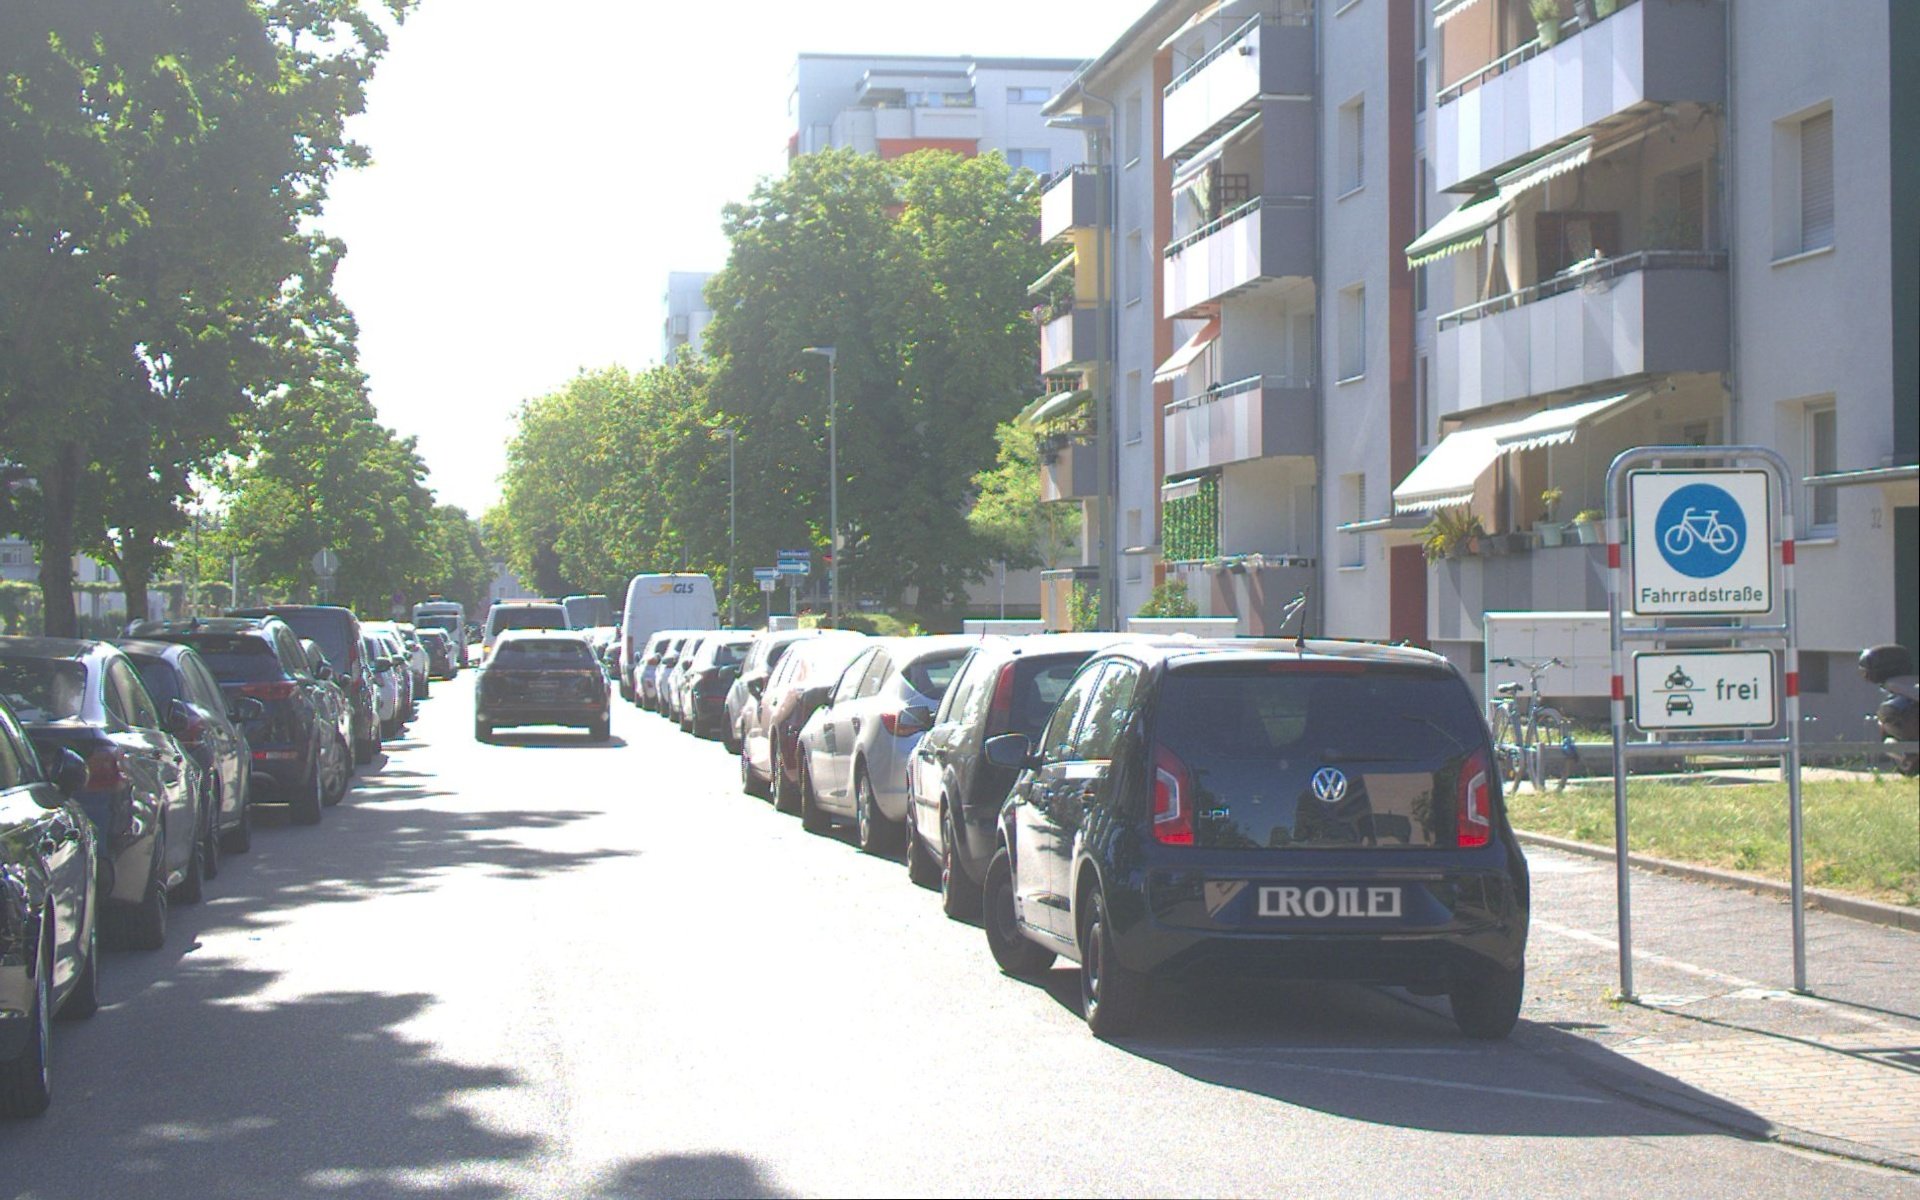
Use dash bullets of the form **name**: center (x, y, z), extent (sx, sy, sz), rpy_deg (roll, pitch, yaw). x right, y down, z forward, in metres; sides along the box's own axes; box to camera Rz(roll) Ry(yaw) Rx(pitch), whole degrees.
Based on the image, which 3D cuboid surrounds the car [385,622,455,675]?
- **car**: center (-15.394, 1.399, 98.149), extent (1.748, 1.420, 3.917), rpy_deg (-2, -1, -7)

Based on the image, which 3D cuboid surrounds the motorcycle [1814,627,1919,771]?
- **motorcycle**: center (7.776, 0.798, 28.101), extent (0.582, 1.147, 2.038), rpy_deg (0, -1, -17)

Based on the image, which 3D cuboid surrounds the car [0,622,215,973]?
- **car**: center (-4.923, 0.892, 17.541), extent (1.993, 1.511, 5.159), rpy_deg (-1, 0, -10)

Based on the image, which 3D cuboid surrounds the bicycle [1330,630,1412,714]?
- **bicycle**: center (5.441, 0.946, 45.637), extent (0.523, 1.067, 2.010), rpy_deg (-2, 0, -9)

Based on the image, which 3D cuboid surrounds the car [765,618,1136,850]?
- **car**: center (-0.179, 0.897, 25.030), extent (1.873, 1.528, 4.494), rpy_deg (0, 0, -11)

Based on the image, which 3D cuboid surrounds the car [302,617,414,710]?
- **car**: center (-11.126, 1.140, 63.745), extent (1.819, 1.604, 4.740), rpy_deg (-2, 0, -8)

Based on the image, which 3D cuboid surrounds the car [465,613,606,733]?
- **car**: center (-5.729, 0.959, 46.567), extent (1.779, 1.526, 4.001), rpy_deg (1, 0, -6)

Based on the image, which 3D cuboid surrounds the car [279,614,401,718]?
- **car**: center (-9.629, 0.995, 53.653), extent (1.755, 1.487, 4.669), rpy_deg (-2, 0, -9)

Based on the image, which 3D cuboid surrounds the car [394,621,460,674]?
- **car**: center (-15.893, 1.414, 102.644), extent (1.777, 1.490, 3.875), rpy_deg (-2, -1, -7)

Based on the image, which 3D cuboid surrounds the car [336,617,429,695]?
- **car**: center (-12.778, 1.213, 76.247), extent (1.756, 1.641, 4.288), rpy_deg (-2, 0, -7)

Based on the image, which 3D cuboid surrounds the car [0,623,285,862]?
- **car**: center (-5.532, 0.897, 22.572), extent (1.880, 1.414, 3.804), rpy_deg (-1, -1, -7)

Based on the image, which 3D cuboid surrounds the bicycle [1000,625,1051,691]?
- **bicycle**: center (1.187, 1.063, 62.874), extent (0.595, 1.172, 2.014), rpy_deg (0, -2, -9)

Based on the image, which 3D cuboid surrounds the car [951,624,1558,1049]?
- **car**: center (1.049, 0.857, 14.060), extent (1.658, 1.469, 3.793), rpy_deg (2, -1, -8)

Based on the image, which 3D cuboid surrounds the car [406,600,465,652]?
- **car**: center (-19.598, 0.974, 128.587), extent (2.098, 1.936, 4.127), rpy_deg (0, 0, -7)

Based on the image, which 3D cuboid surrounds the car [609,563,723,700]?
- **car**: center (-6.297, 0.648, 73.015), extent (2.142, 2.704, 6.842), rpy_deg (-2, 0, -6)

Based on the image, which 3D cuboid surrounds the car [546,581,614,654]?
- **car**: center (-14.370, 0.648, 129.778), extent (2.162, 2.680, 5.417), rpy_deg (0, 0, -11)

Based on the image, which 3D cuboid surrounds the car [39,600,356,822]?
- **car**: center (-6.157, 0.845, 28.277), extent (2.025, 1.620, 4.758), rpy_deg (-1, 0, -7)

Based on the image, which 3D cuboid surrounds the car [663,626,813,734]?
- **car**: center (-3.258, 1.123, 49.741), extent (1.699, 1.431, 4.472), rpy_deg (-2, 0, -9)

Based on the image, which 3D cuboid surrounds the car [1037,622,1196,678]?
- **car**: center (4.119, 1.310, 90.550), extent (3.886, 1.424, 1.659), rpy_deg (0, 0, -11)

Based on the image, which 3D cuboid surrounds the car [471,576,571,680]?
- **car**: center (-8.811, 0.560, 69.262), extent (1.894, 1.984, 4.011), rpy_deg (-2, 0, -7)

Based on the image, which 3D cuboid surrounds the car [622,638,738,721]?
- **car**: center (-5.333, 1.479, 65.096), extent (1.848, 1.461, 4.203), rpy_deg (1, 0, -9)

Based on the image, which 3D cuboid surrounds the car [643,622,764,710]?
- **car**: center (-4.546, 1.131, 60.474), extent (1.877, 1.470, 4.141), rpy_deg (0, 0, -7)

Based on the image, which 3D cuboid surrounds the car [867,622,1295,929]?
- **car**: center (0.554, 0.889, 19.517), extent (1.769, 1.524, 4.558), rpy_deg (0, 0, -7)

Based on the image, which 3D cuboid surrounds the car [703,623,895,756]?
- **car**: center (-1.978, 1.038, 41.252), extent (1.747, 1.494, 3.862), rpy_deg (-1, 0, -11)

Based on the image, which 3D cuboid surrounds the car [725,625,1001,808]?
- **car**: center (-0.951, 0.960, 30.363), extent (1.843, 1.468, 5.066), rpy_deg (0, 0, -8)

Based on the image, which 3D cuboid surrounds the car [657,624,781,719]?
- **car**: center (-3.898, 1.112, 55.135), extent (1.721, 1.431, 4.153), rpy_deg (-1, 0, -8)

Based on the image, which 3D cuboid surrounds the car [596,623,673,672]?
- **car**: center (-9.742, 1.409, 102.633), extent (2.125, 1.333, 4.506), rpy_deg (-3, 0, -7)

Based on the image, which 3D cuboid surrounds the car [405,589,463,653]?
- **car**: center (-20.626, 0.823, 134.922), extent (2.098, 2.488, 4.127), rpy_deg (0, 0, -7)

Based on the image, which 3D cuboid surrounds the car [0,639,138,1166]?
- **car**: center (-3.938, 0.871, 11.850), extent (1.835, 1.447, 4.969), rpy_deg (0, 0, -10)

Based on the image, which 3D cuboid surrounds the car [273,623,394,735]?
- **car**: center (-8.941, 1.100, 49.258), extent (1.586, 1.487, 3.686), rpy_deg (-2, 0, -9)

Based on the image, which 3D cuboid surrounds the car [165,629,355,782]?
- **car**: center (-6.964, 1.011, 34.493), extent (1.538, 1.424, 4.088), rpy_deg (0, 0, -7)

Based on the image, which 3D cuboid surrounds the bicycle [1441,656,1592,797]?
- **bicycle**: center (4.435, 0.992, 27.523), extent (0.719, 1.074, 1.897), rpy_deg (0, 0, -6)

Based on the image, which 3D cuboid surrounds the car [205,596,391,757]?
- **car**: center (-7.735, 0.884, 40.525), extent (1.864, 1.779, 4.992), rpy_deg (0, -1, -8)
